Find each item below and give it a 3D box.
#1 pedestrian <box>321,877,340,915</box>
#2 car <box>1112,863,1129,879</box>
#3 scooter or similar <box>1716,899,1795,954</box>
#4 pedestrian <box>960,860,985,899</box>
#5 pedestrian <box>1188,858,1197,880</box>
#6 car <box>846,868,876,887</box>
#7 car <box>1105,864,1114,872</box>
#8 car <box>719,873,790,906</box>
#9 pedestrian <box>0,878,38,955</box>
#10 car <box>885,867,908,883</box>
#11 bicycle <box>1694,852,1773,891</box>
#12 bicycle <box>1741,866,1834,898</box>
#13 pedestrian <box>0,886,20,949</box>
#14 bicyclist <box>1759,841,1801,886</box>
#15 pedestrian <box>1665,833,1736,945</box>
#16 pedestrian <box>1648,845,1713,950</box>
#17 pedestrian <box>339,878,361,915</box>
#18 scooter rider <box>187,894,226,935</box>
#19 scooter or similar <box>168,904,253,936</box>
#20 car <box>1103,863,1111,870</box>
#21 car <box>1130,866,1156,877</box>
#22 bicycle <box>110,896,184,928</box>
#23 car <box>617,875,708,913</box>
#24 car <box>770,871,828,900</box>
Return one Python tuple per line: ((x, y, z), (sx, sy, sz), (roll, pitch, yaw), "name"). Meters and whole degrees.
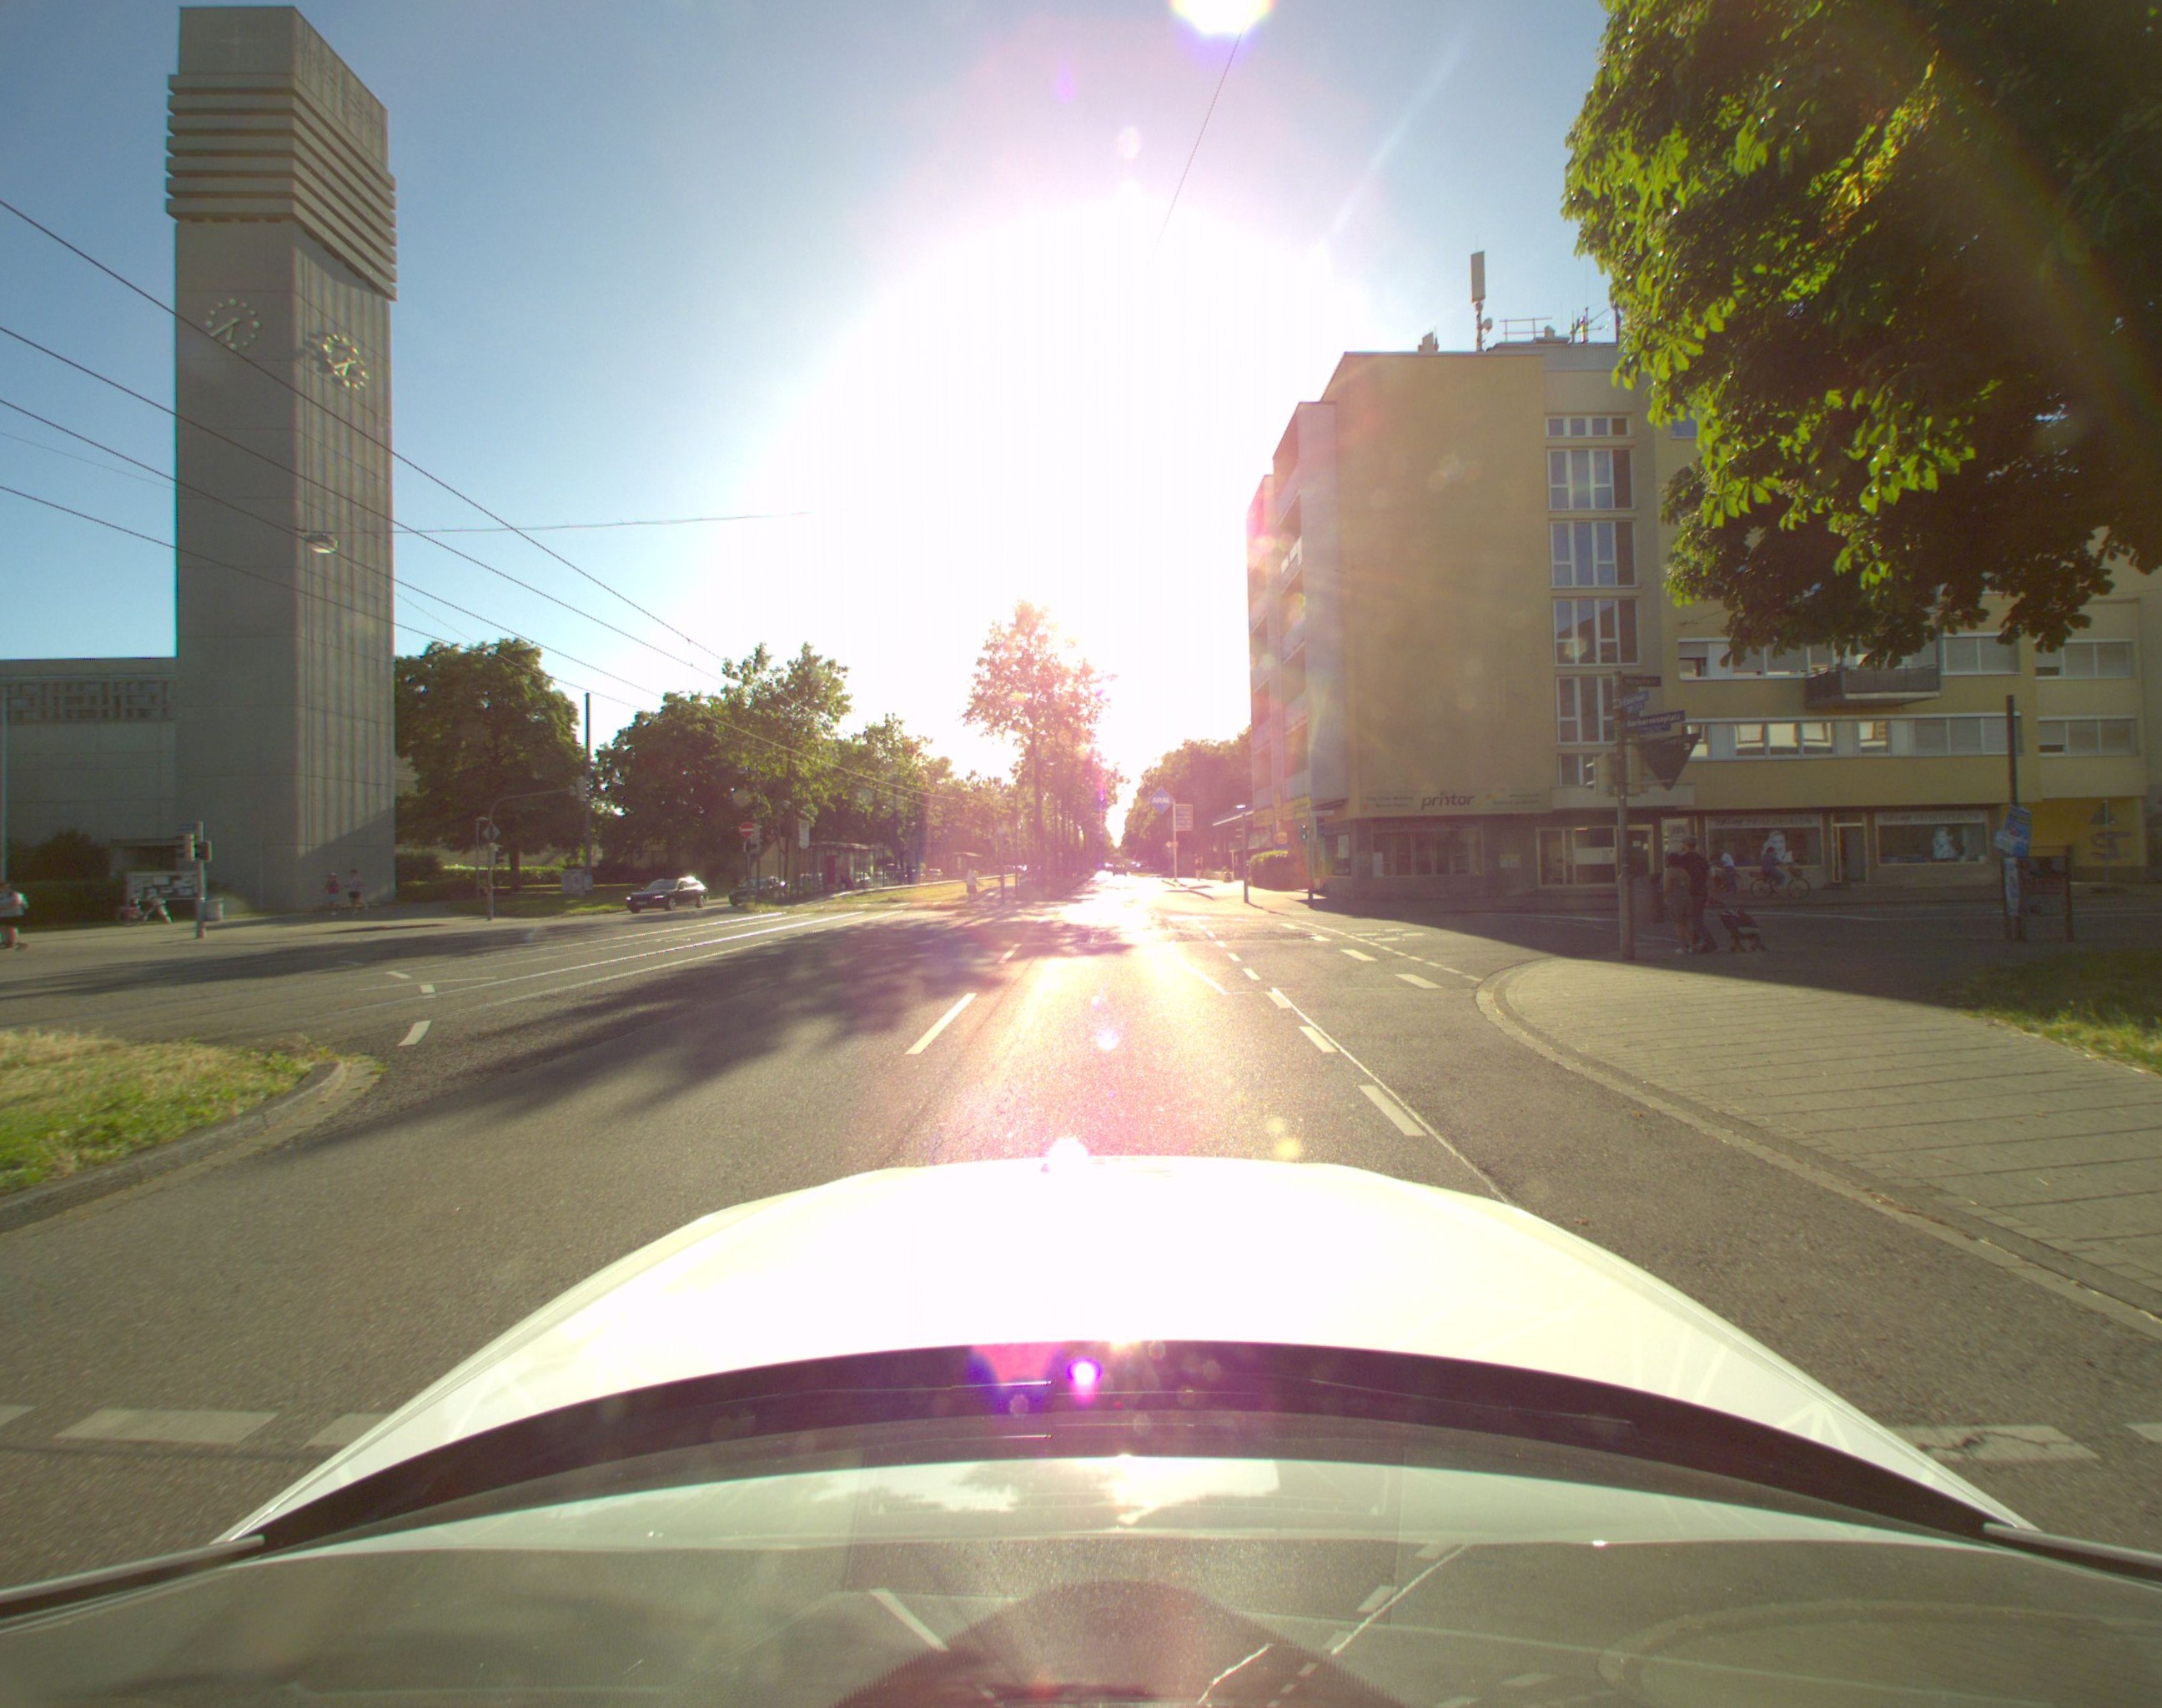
((-31.147, 1.754, 33.800), (0.434, 1.560, 0.305), (1, -1, -2), "pedestrian")
((5.066, 2.157, 103.835), (1.995, 1.860, 4.006), (1, -1, 5), "car")
((9.887, 1.049, 11.956), (0.595, 0.737, 0.681), (1, -1, 1), "scooter or similar")
((-4.560, 1.066, 34.200), (0.887, 1.606, 0.614), (1, -1, 2), "pedestrian")
((8.670, 1.171, 63.288), (0.572, 1.747, 0.506), (1, -1, 1), "pedestrian")
((-19.862, 2.109, 73.634), (1.616, 1.563, 3.414), (1, -1, 2), "car")
((5.341, 2.631, 151.778), (1.628, 1.549, 4.003), (1, -1, 3), "car")
((-16.580, 1.764, 41.612), (1.680, 1.533, 4.363), (-1, -1, 2), "car")
((-27.177, 1.581, 20.643), (0.415, 1.915, 0.748), (1, -1, 12), "pedestrian")
((-19.906, 2.263, 87.867), (1.616, 1.563, 3.414), (1, -1, 2), "car")
((24.389, 0.649, 30.448), (2.461, 1.399, 0.608), (1, -1, 1), "bicycle")
((23.776, 0.940, 27.442), (2.234, 0.987, 0.792), (-1, 4, 17), "bicycle")
((-29.184, 1.713, 21.831), (0.440, 1.666, 0.749), (1, -1, 13), "pedestrian")
((23.599, 0.313, 27.509), (0.762, 1.471, 0.902), (-2, 0, 19), "bicyclist")
((9.575, 0.530, 12.603), (0.724, 1.682, 0.534), (1, -1, 14), "pedestrian")
((9.017, 0.638, 12.263), (0.642, 1.522, 0.498), (1, -1, 14), "pedestrian")
((-30.477, 1.758, 33.947), (0.434, 1.507, 0.488), (1, -1, -2), "pedestrian")
((-26.764, 1.852, 24.935), (0.526, 1.218, 0.585), (1, -1, -14), "scooter rider")
((-26.685, 2.015, 24.992), (1.736, 0.899, 0.561), (-1, -1, -14), "scooter or similar")
((6.192, 2.997, 197.146), (1.887, 1.611, 4.501), (1, -1, 1), "car")
((10.366, 2.932, 135.745), (4.008, 1.750, 1.740), (1, -1, -27), "car")
((-33.406, 2.056, 29.163), (0.488, 1.046, 1.687), (1, -1, 10), "bicycle")
((-19.243, 1.793, 37.658), (1.799, 1.533, 4.363), (-1, -1, 2), "car")
((-16.464, 1.833, 47.803), (1.680, 1.533, 4.363), (-1, -1, 2), "car")
